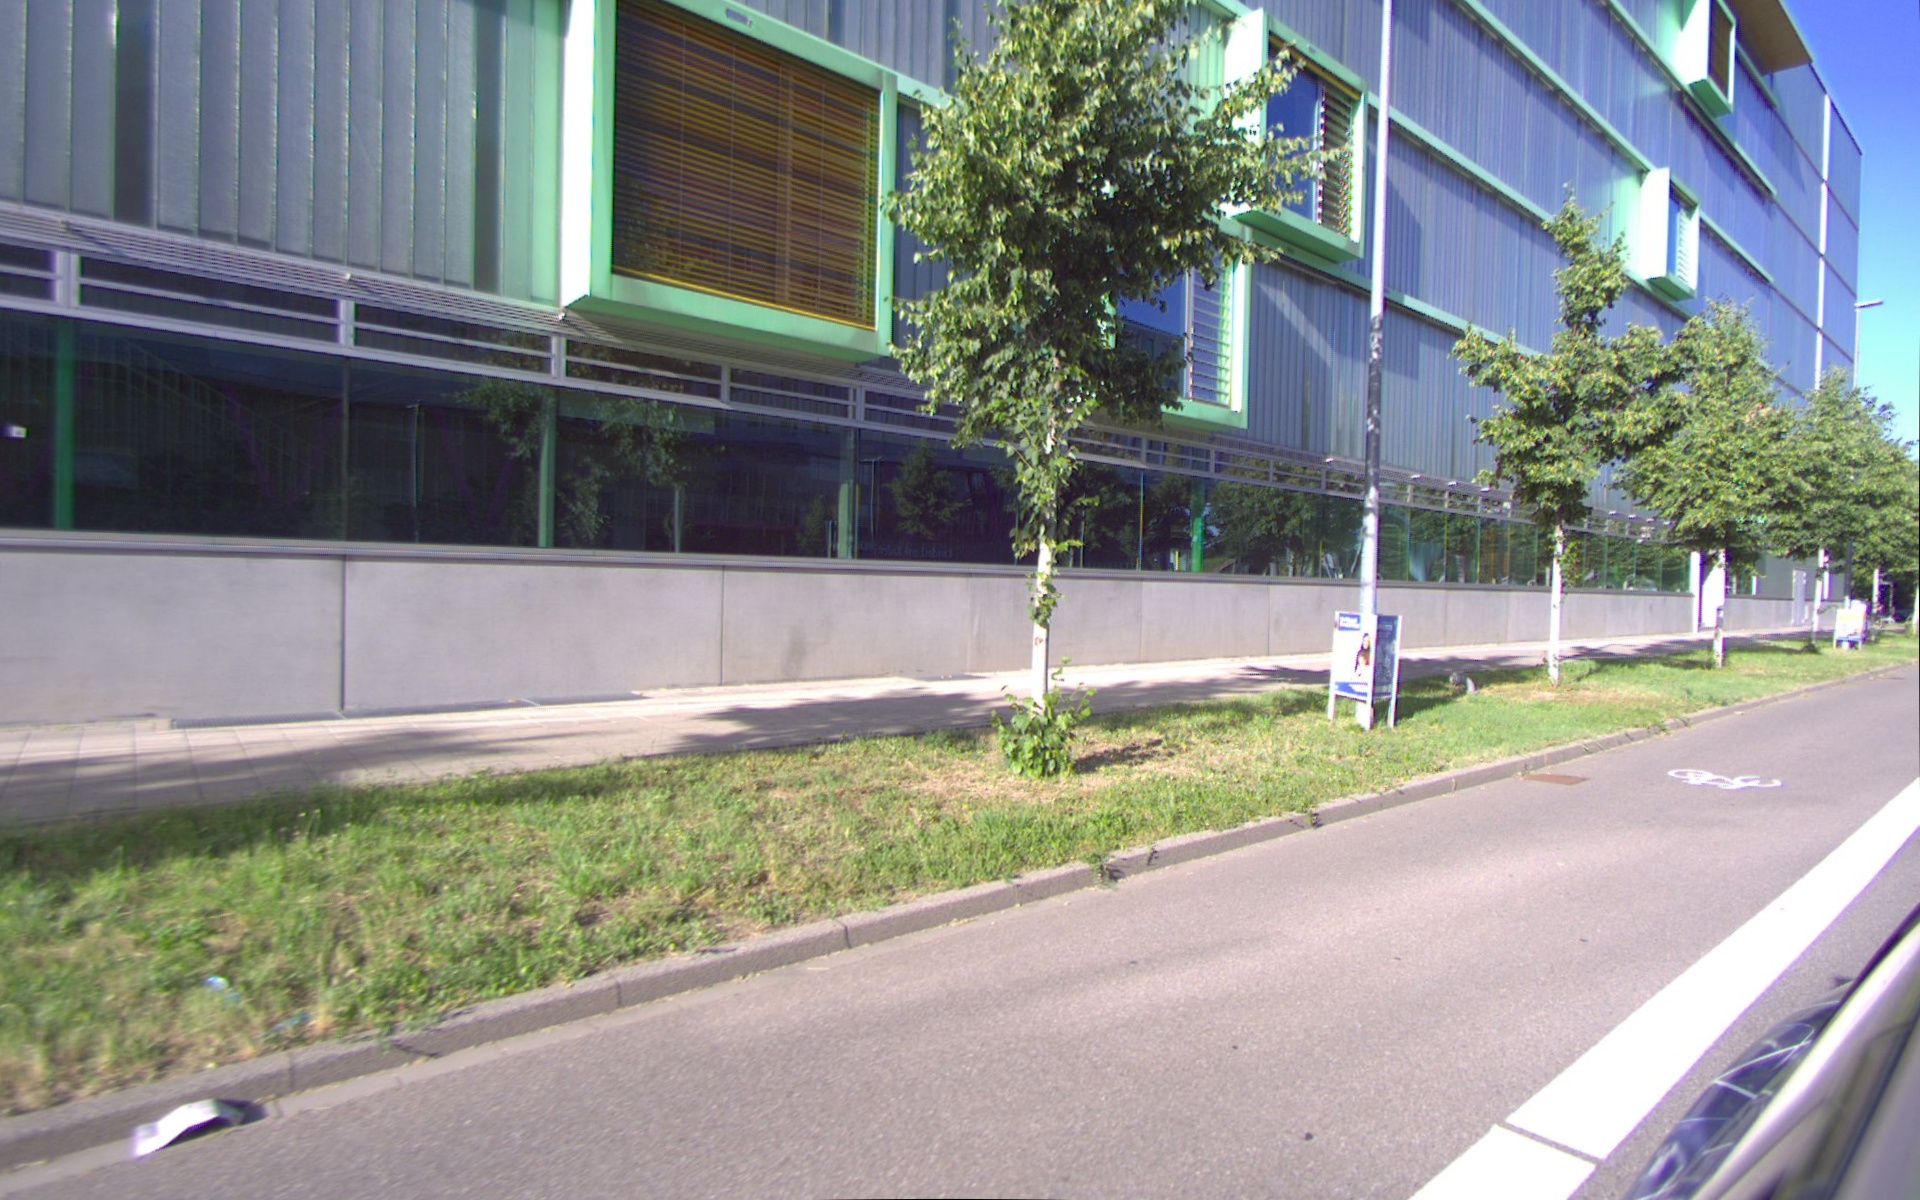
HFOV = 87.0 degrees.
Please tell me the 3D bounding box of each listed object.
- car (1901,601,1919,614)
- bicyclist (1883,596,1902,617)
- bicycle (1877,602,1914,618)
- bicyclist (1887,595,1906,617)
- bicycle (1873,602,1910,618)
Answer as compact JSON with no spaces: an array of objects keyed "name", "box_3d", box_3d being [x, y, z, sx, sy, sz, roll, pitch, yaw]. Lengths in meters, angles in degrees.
[{"name":"car","box_3d":[122.461,0.930,129.791,4.572,1.548,1.998,0,3,-41]},{"name":"bicyclist","box_3d":[75.437,0.497,81.905,0.777,1.674,0.878,2,1,-28]},{"name":"bicycle","box_3d":[76.203,0.821,82.442,0.540,1.218,2.107,2,1,-28]},{"name":"bicyclist","box_3d":[76.230,0.457,82.360,0.815,1.759,0.878,2,1,-28]},{"name":"bicycle","box_3d":[75.429,0.813,81.940,0.540,1.218,2.108,2,1,-25]}]
